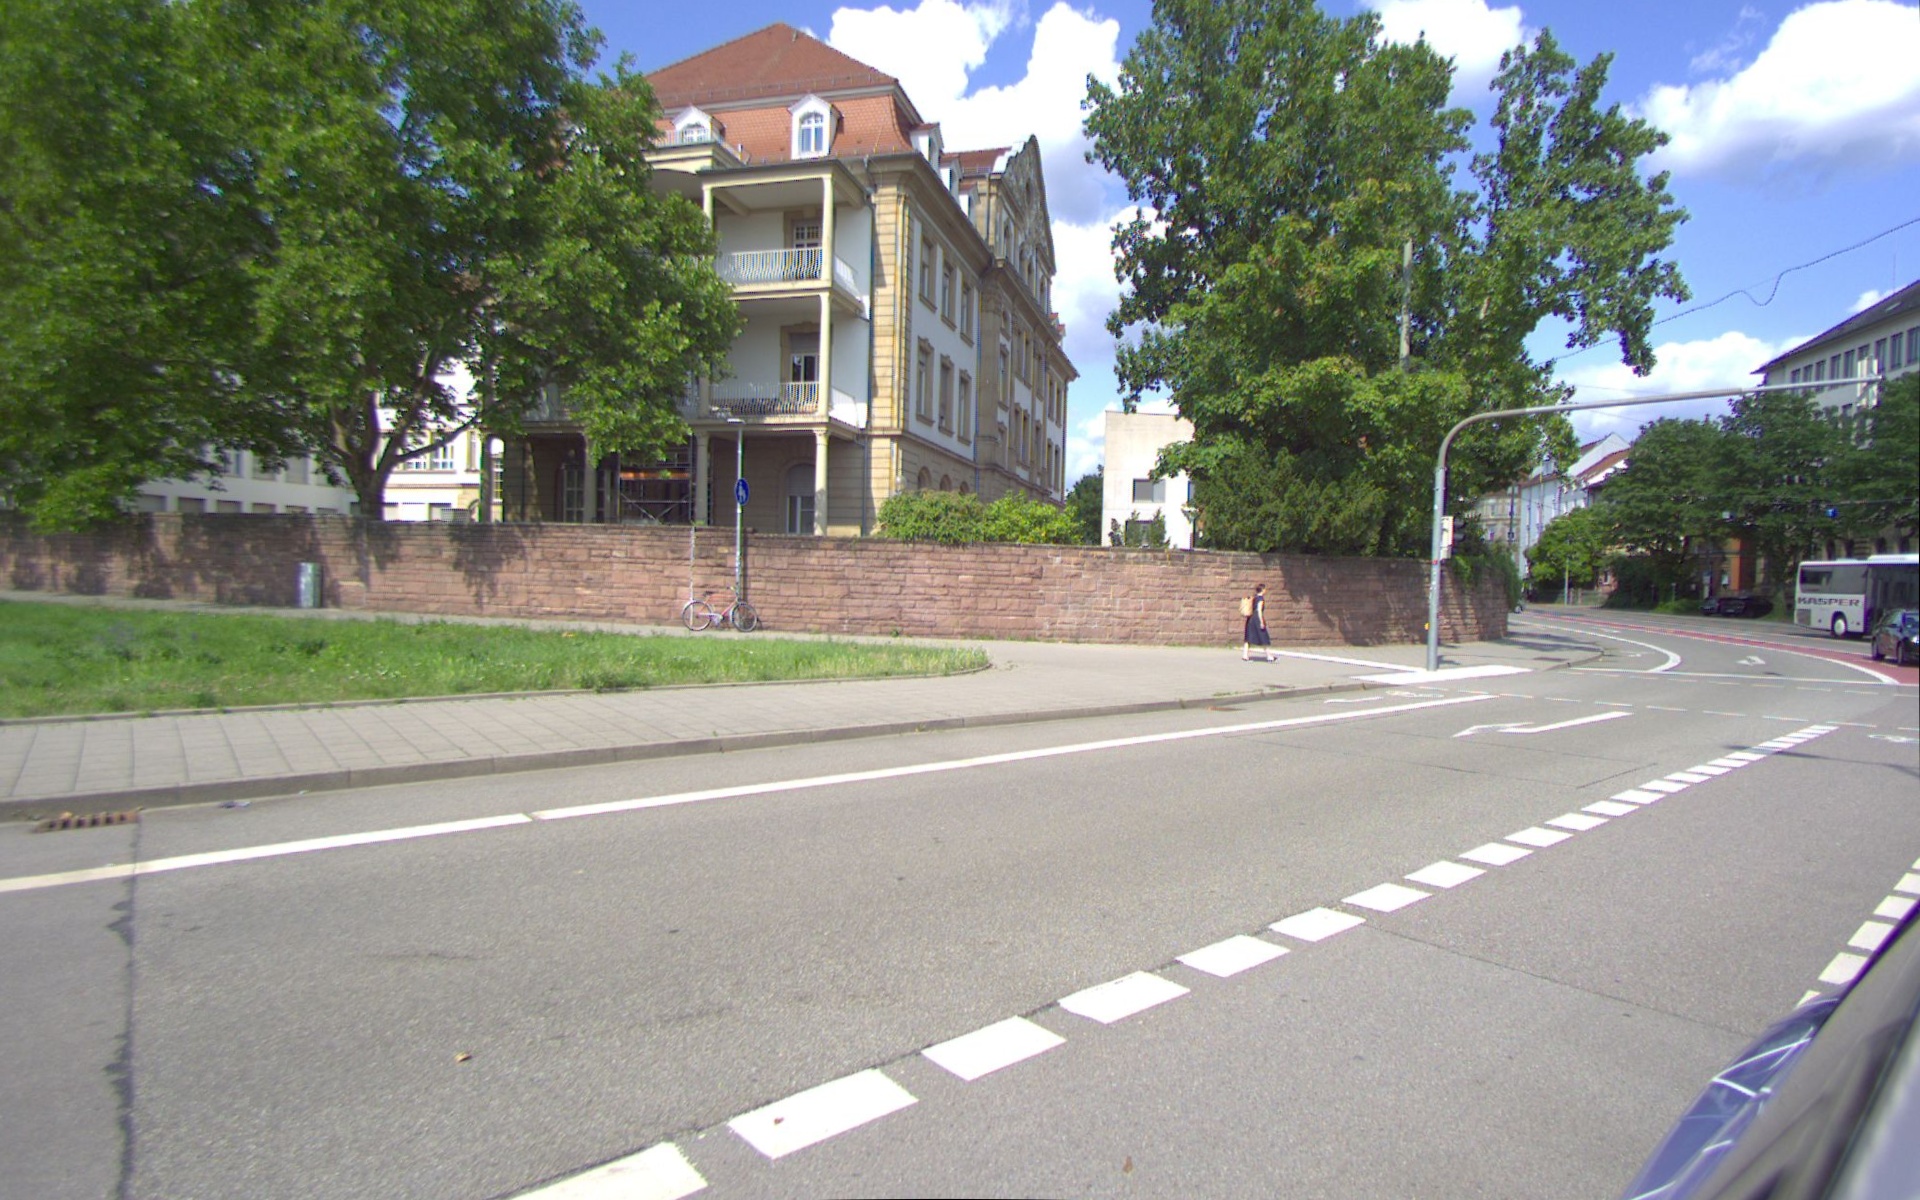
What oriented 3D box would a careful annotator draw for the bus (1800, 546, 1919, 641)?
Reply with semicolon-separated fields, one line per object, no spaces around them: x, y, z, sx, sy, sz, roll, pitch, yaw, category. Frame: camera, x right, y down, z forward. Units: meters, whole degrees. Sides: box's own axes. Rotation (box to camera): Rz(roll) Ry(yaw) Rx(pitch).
35.922;-0.230;36.931;2.884;3.369;12.158;1;2;13;bus

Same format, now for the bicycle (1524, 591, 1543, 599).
65.173;-0.571;115.082;1.129;0.920;2.976;-1;1;14;bicycle

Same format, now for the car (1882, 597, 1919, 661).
25.803;0.759;26.532;1.682;1.596;4.108;2;1;32;car

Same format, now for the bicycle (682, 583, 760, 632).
-5.302;0.147;22.487;1.568;0.986;0.644;2;3;9;bicycle

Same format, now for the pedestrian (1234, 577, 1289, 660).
6.205;0.366;20.843;0.871;1.659;0.749;2;1;4;pedestrian

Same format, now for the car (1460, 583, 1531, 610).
35.925;-0.263;67.969;3.828;1.625;1.661;2;0;8;car
